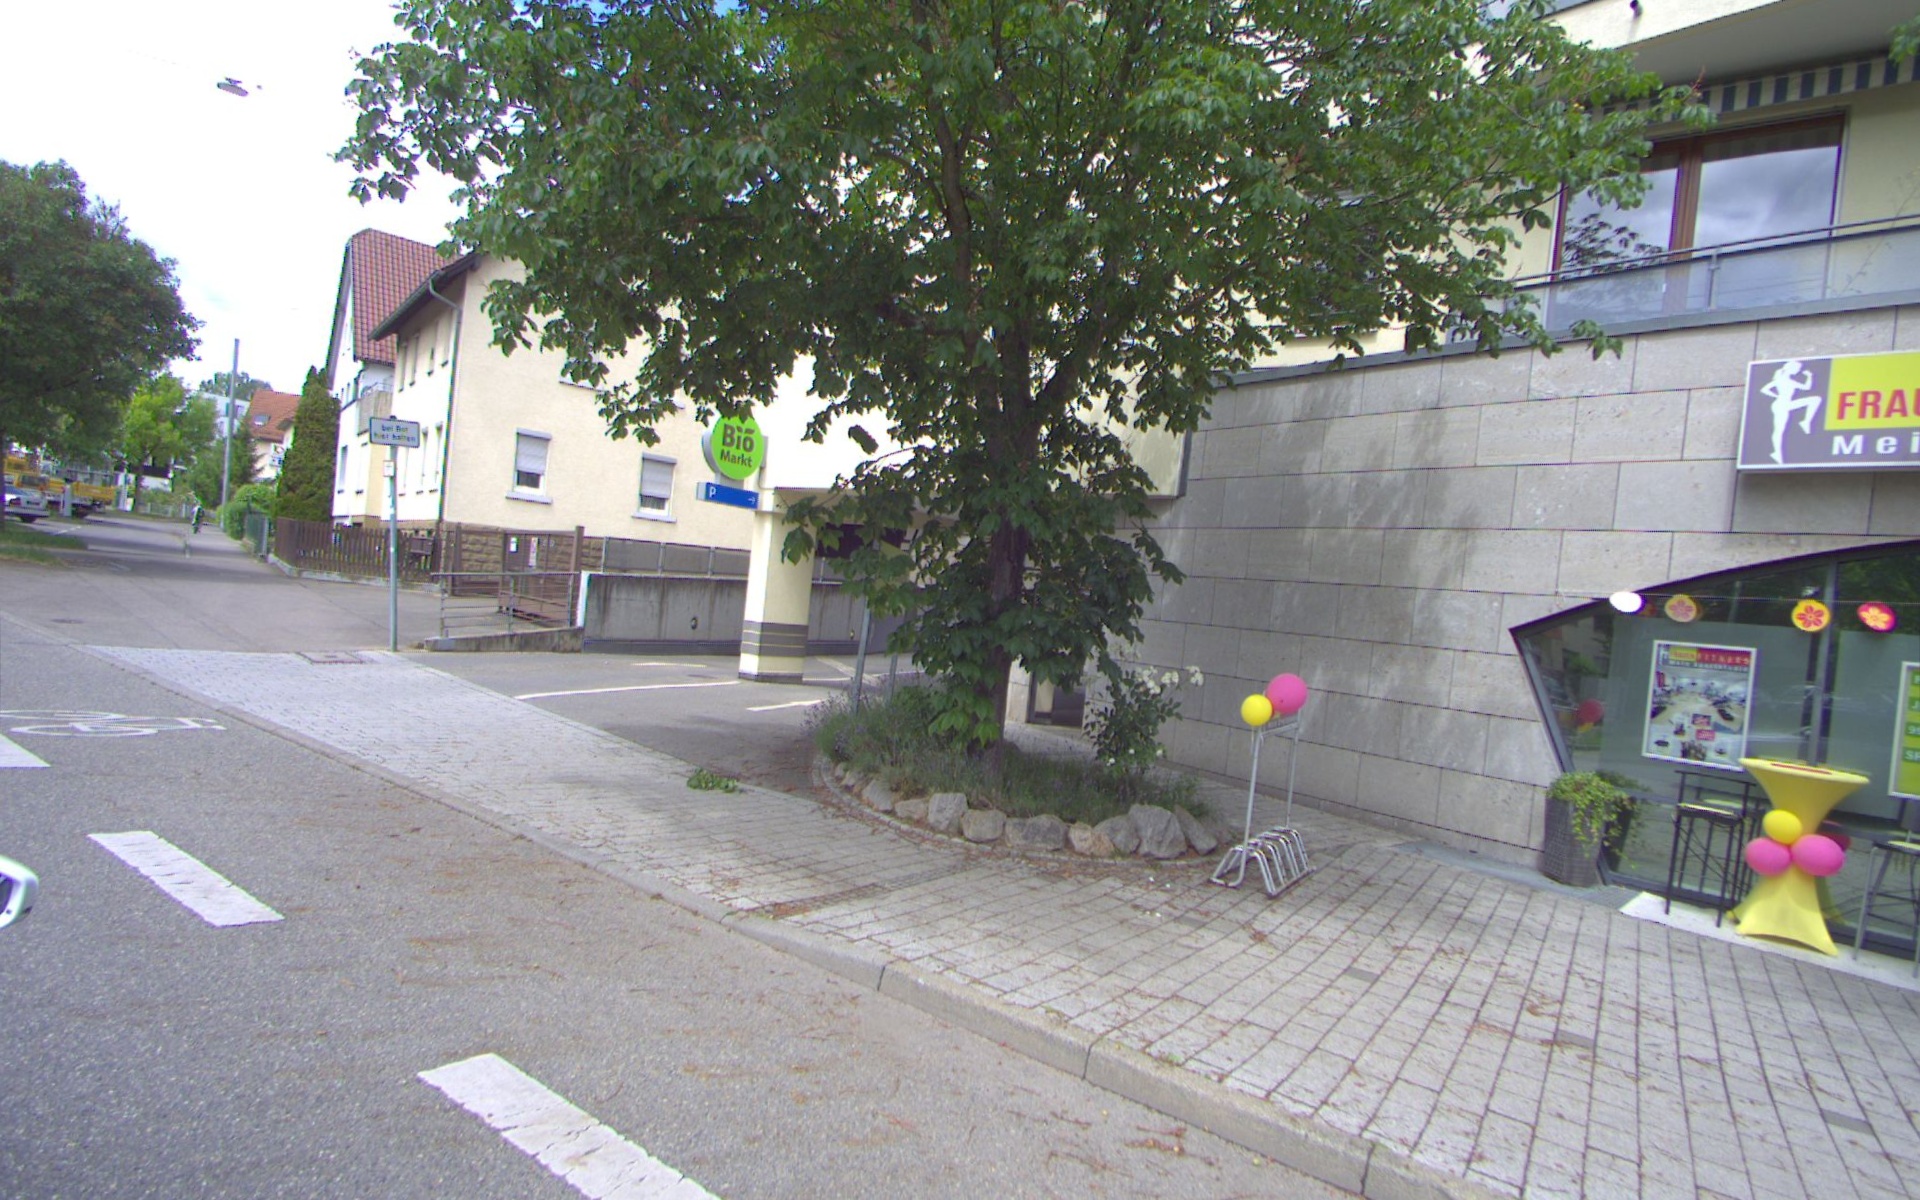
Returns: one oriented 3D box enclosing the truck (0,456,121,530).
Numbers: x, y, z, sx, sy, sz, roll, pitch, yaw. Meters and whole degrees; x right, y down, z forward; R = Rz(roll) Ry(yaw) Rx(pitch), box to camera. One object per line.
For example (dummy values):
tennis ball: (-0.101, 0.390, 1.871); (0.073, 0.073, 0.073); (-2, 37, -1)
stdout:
truck: (-49.681, -5.860, 53.916); (6.585, 3.042, 2.771); (8, -2, -2)

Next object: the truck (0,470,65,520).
truck: (-49.409, -5.601, 51.152); (5.576, 2.036, 2.000); (8, -2, -3)

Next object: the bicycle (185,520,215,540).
bicycle: (-40.119, -3.700, 53.071); (1.725, 0.821, 0.595); (6, -2, 31)

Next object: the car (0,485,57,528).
car: (-39.265, -3.968, 40.233); (4.603, 1.469, 1.768); (8, 0, 0)

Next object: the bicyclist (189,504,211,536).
bicyclist: (-40.163, -4.214, 53.149); (0.557, 1.577, 0.590); (6, -1, 31)
